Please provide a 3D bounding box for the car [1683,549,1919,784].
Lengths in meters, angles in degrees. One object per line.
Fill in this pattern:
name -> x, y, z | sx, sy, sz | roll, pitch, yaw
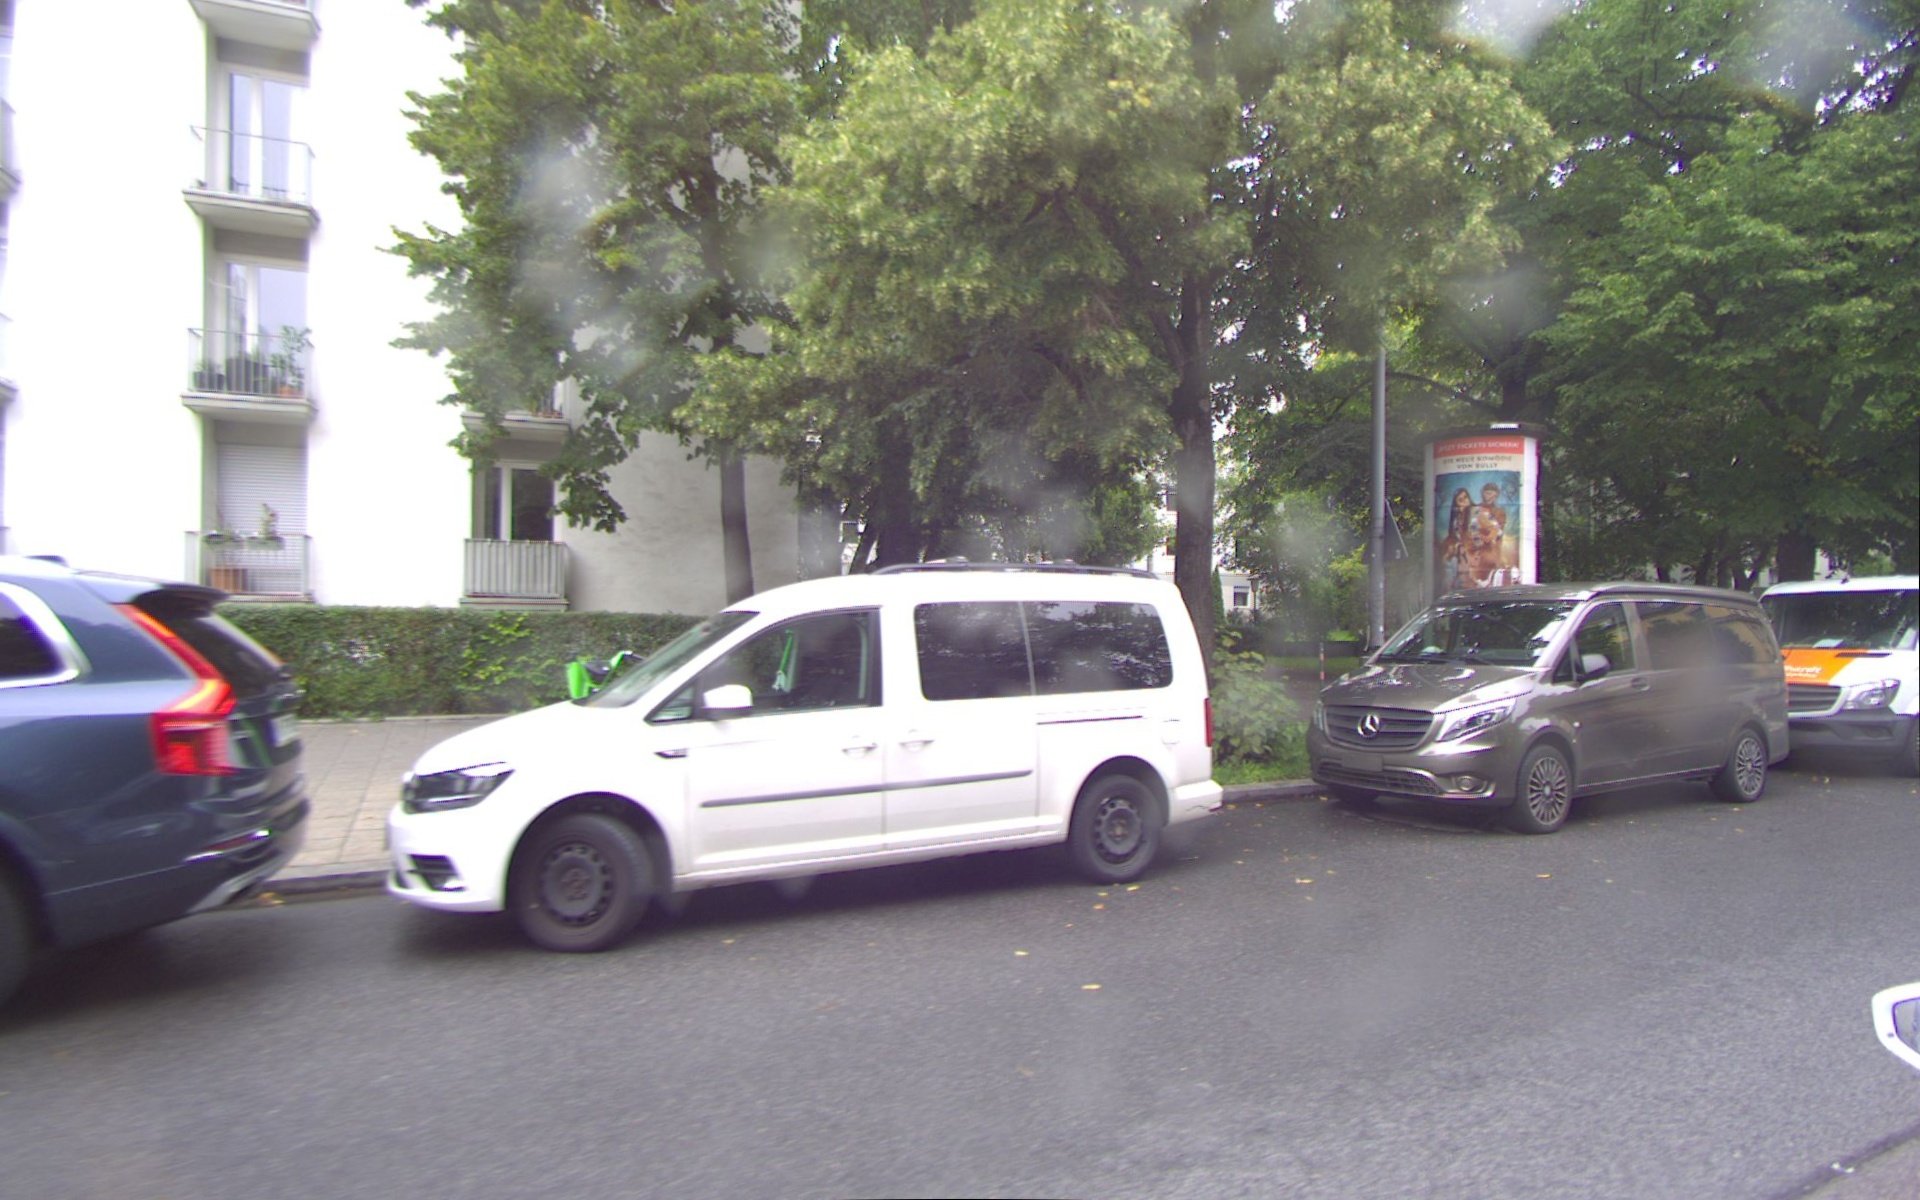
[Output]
car -> 11.516, 0.797, 12.439 | 5.343, 2.379, 2.105 | 3, -2, -29

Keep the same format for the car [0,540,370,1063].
car -> -5.167, 0.647, 3.617 | 4.990, 1.791, 1.875 | 2, -2, -25

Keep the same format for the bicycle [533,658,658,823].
bicycle -> -2.786, 1.039, 7.698 | 0.683, 1.166, 0.559 | 0, -2, 30

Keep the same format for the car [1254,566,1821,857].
car -> 5.330, 0.846, 9.052 | 5.393, 1.989, 1.937 | 1, -2, -29

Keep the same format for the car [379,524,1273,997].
car -> -0.621, 0.734, 6.046 | 4.766, 1.962, 1.875 | 1, -2, -25
